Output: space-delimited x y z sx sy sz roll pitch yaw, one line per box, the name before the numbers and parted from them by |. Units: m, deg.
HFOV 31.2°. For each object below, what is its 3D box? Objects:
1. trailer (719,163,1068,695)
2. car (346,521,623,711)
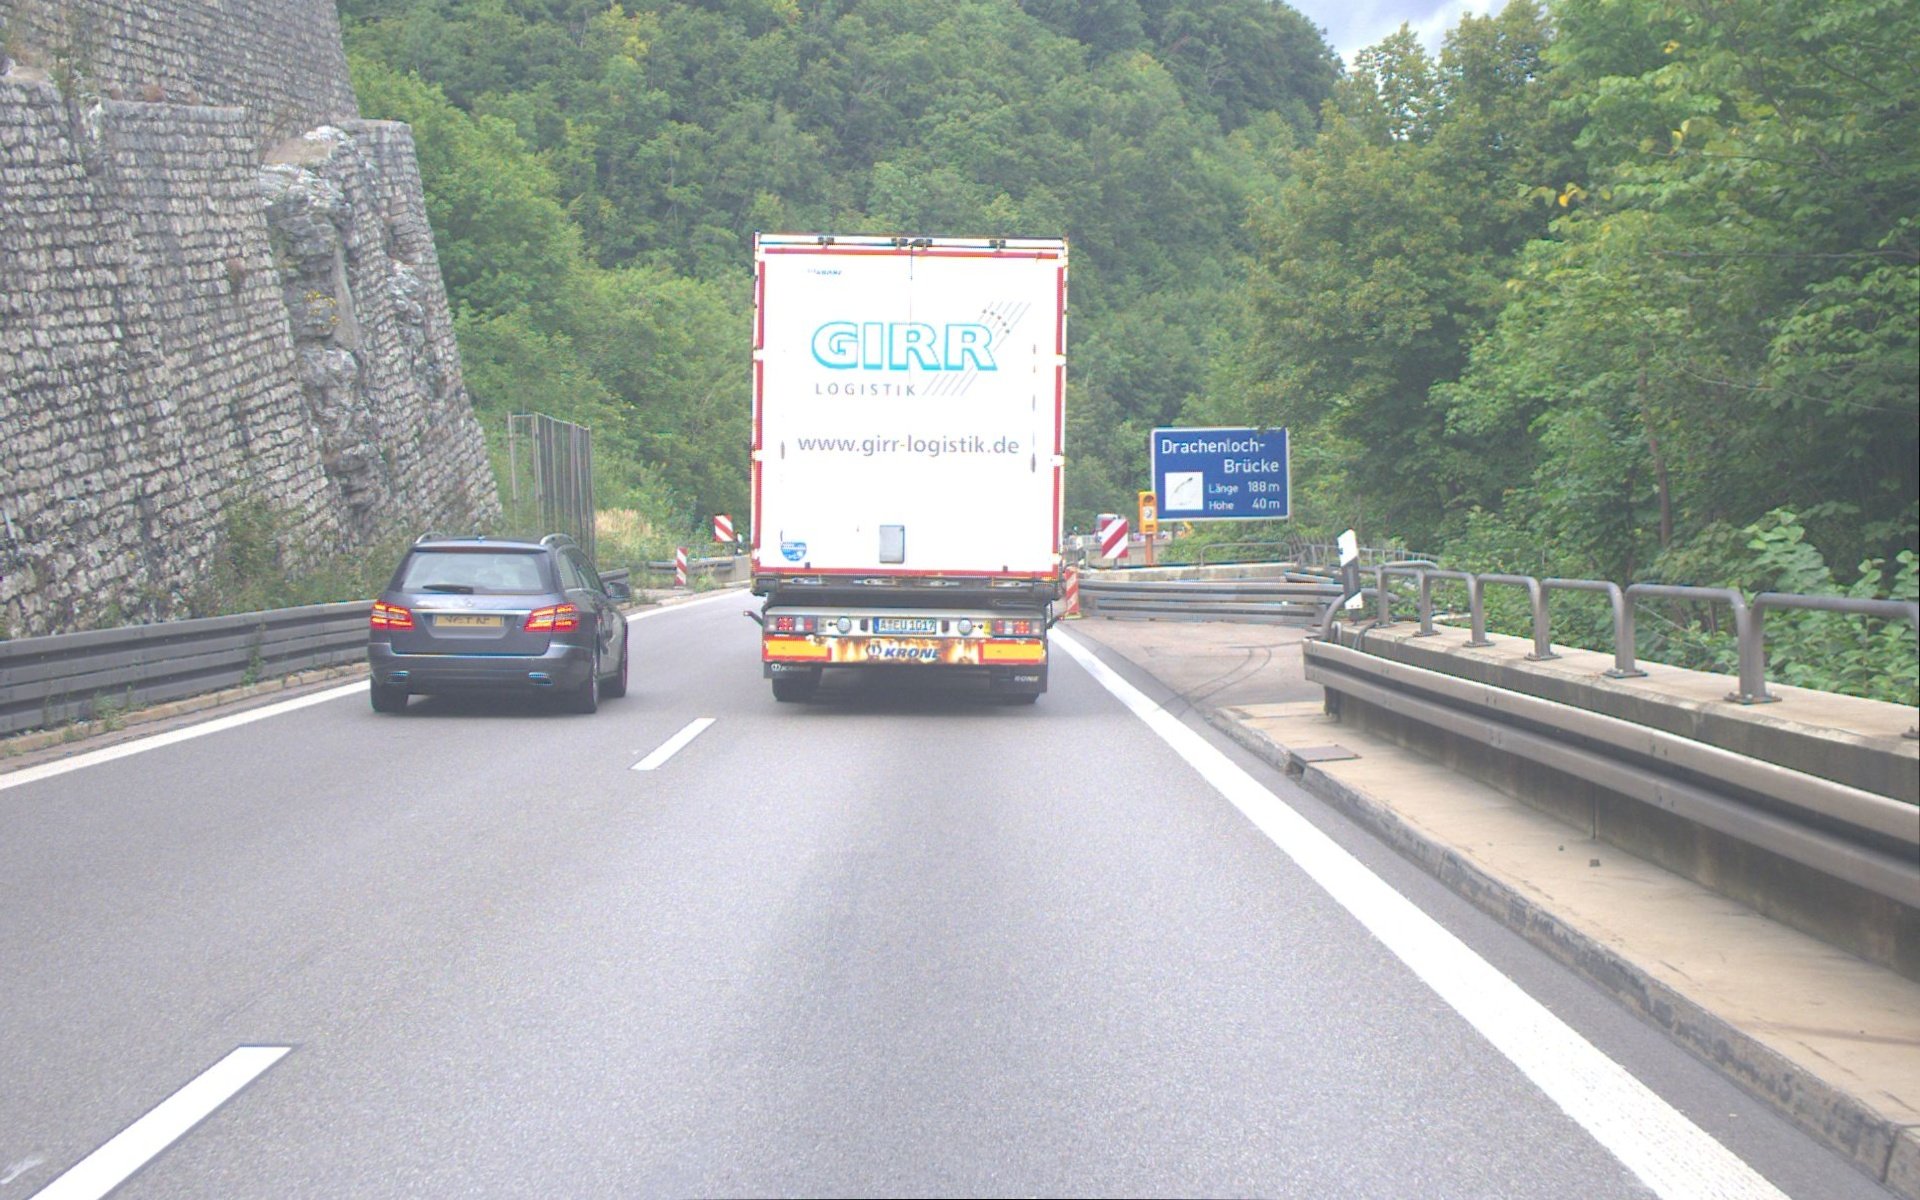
trailer | -0.616 -1.437 33.886 2.813 4.288 12.245 0 1 -1
car | -3.986 0.103 29.455 1.883 1.505 4.419 0 1 -2
